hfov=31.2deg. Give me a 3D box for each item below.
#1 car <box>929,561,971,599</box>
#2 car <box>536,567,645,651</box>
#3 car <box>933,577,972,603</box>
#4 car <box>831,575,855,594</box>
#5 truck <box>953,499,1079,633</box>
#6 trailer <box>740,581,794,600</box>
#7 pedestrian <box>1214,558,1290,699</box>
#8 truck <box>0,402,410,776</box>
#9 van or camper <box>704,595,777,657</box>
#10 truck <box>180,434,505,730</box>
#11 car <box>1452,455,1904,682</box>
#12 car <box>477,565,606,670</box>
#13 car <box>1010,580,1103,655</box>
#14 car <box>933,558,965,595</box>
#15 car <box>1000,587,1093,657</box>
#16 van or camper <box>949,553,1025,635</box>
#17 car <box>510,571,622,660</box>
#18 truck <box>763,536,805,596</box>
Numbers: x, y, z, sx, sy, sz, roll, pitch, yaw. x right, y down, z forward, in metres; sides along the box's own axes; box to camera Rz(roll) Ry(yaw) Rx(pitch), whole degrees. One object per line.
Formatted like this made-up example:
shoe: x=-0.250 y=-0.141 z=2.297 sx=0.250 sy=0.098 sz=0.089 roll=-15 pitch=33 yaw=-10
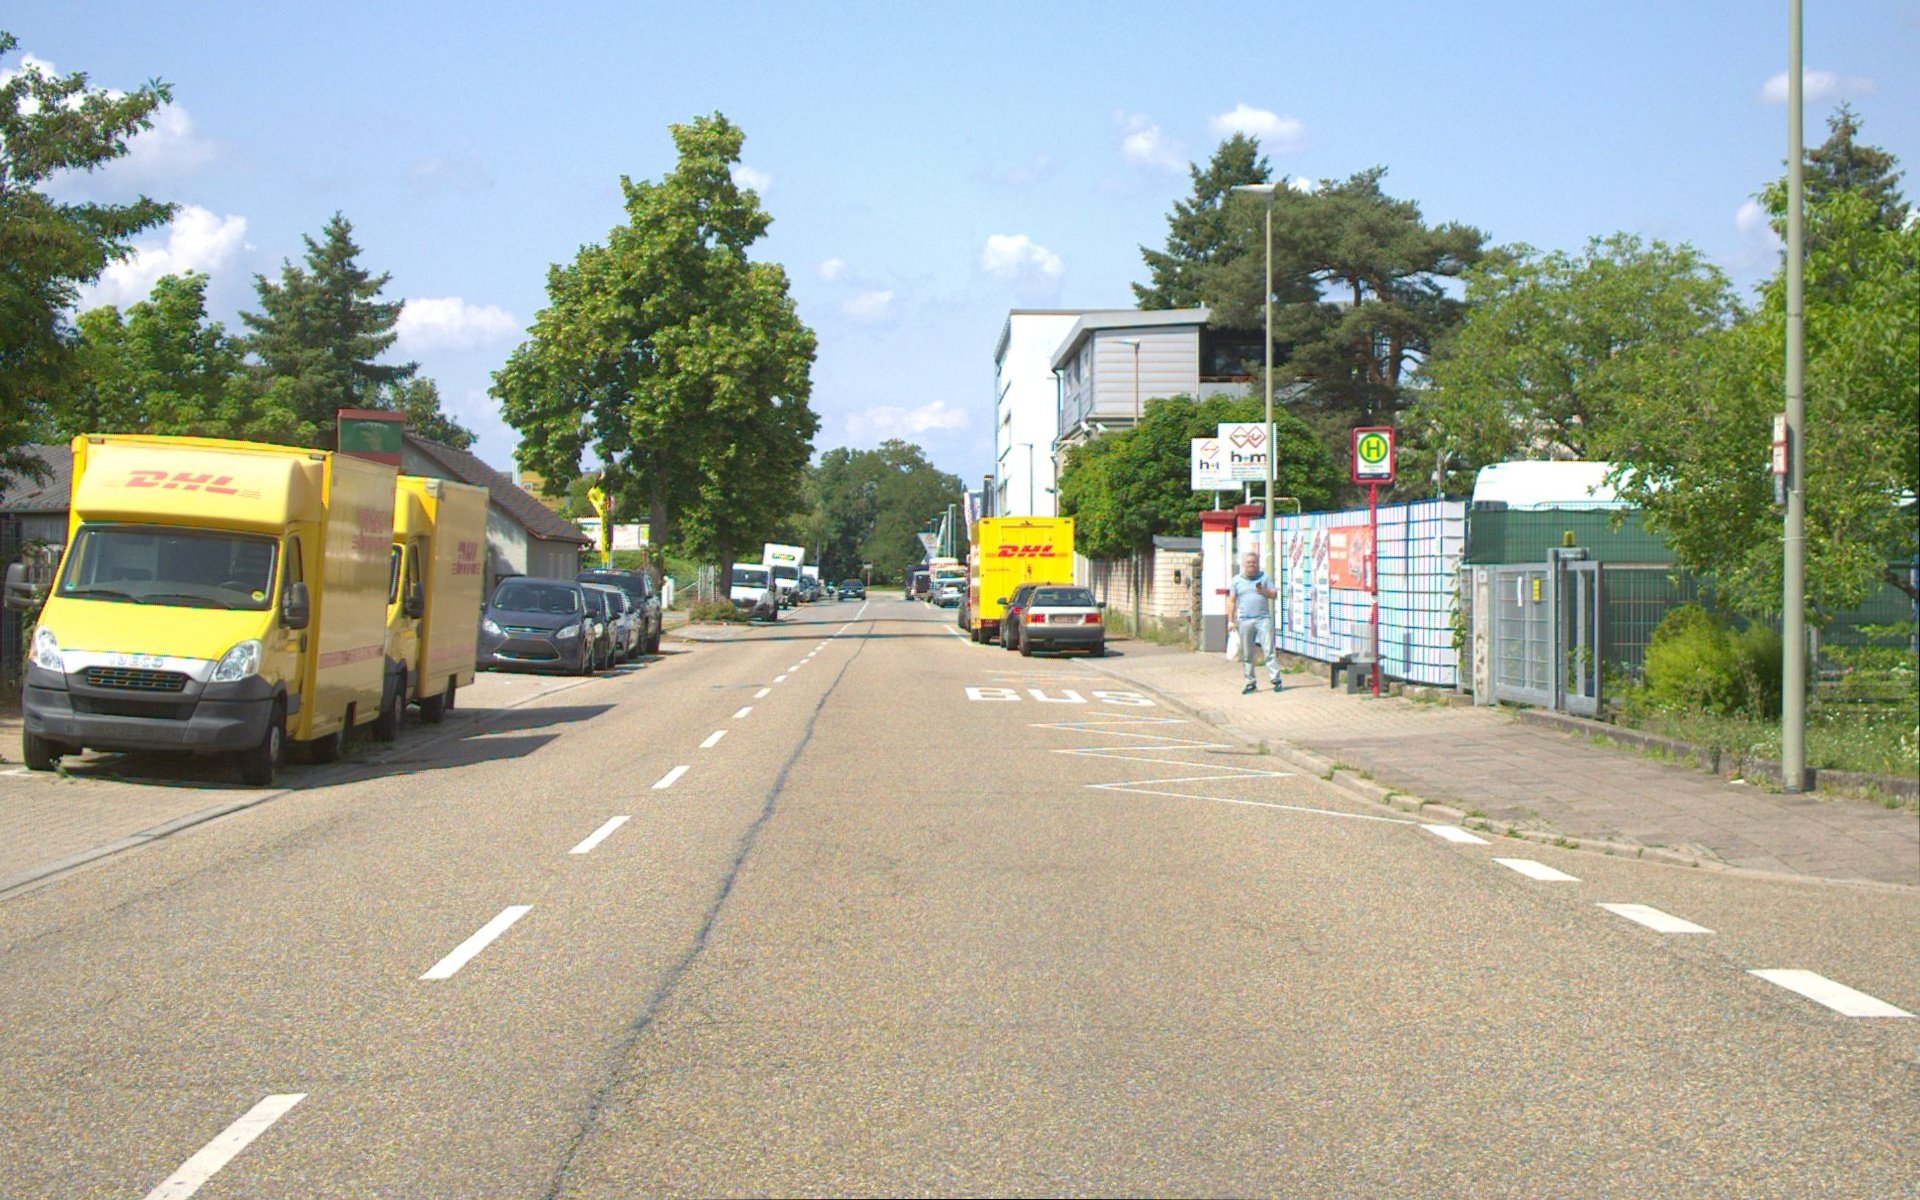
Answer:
car: x=-0.573 y=-1.105 z=186.460 sx=2.216 sy=2.007 sz=5.485 roll=0 pitch=0 yaw=-1
car: x=-7.346 y=0.151 z=68.660 sx=1.733 sy=1.513 sz=4.743 roll=3 pitch=1 yaw=-2
car: x=-0.391 y=-0.513 z=172.749 sx=1.928 sy=1.306 sz=4.000 roll=0 pitch=0 yaw=-1
car: x=-8.310 y=-1.101 z=244.536 sx=1.654 sy=1.320 sz=4.416 roll=0 pitch=0 yaw=-1
truck: x=1.240 y=-0.777 z=80.332 sx=2.474 sy=2.930 sz=7.189 roll=2 pitch=0 yaw=-2
trailer: x=-9.560 y=-0.468 z=170.508 sx=2.417 sy=0.811 sz=5.537 roll=2 pitch=0 yaw=-1
pedestrian: x=3.656 y=0.355 z=43.095 sx=0.715 sy=1.691 sz=0.522 roll=-5 pitch=0 yaw=-5
truck: x=-6.499 y=-0.067 z=30.328 sx=2.269 sy=2.845 sz=7.175 roll=2 pitch=0 yaw=-2
van or camper: x=-8.850 y=1.014 z=139.476 sx=2.174 sy=2.405 sz=7.697 roll=0 pitch=0 yaw=2
truck: x=-6.664 y=-0.202 z=38.047 sx=2.316 sy=2.853 sz=7.105 roll=3 pitch=0 yaw=-1
car: x=8.615 y=-0.367 z=41.465 sx=4.905 sy=2.643 sz=2.074 roll=0 pitch=0 yaw=-8
car: x=-6.957 y=0.269 z=57.527 sx=1.724 sy=1.599 sz=4.414 roll=3 pitch=0 yaw=-3
car: x=1.895 y=0.322 z=68.674 sx=1.651 sy=1.382 sz=4.423 roll=1 pitch=1 yaw=-1
car: x=-0.651 y=-1.365 z=197.147 sx=1.707 sy=2.083 sz=4.000 roll=0 pitch=0 yaw=-2
car: x=1.819 y=0.445 z=73.387 sx=1.662 sy=1.436 sz=4.284 roll=0 pitch=0 yaw=-3
van or camper: x=0.761 y=-0.173 z=100.641 sx=1.993 sy=2.283 sz=5.448 roll=2 pitch=0 yaw=-1
car: x=-7.171 y=0.265 z=62.873 sx=1.627 sy=1.443 sz=4.027 roll=4 pitch=0 yaw=-2
truck: x=-9.464 y=-1.816 z=185.009 sx=2.029 sy=3.143 sz=6.500 roll=0 pitch=0 yaw=-1
